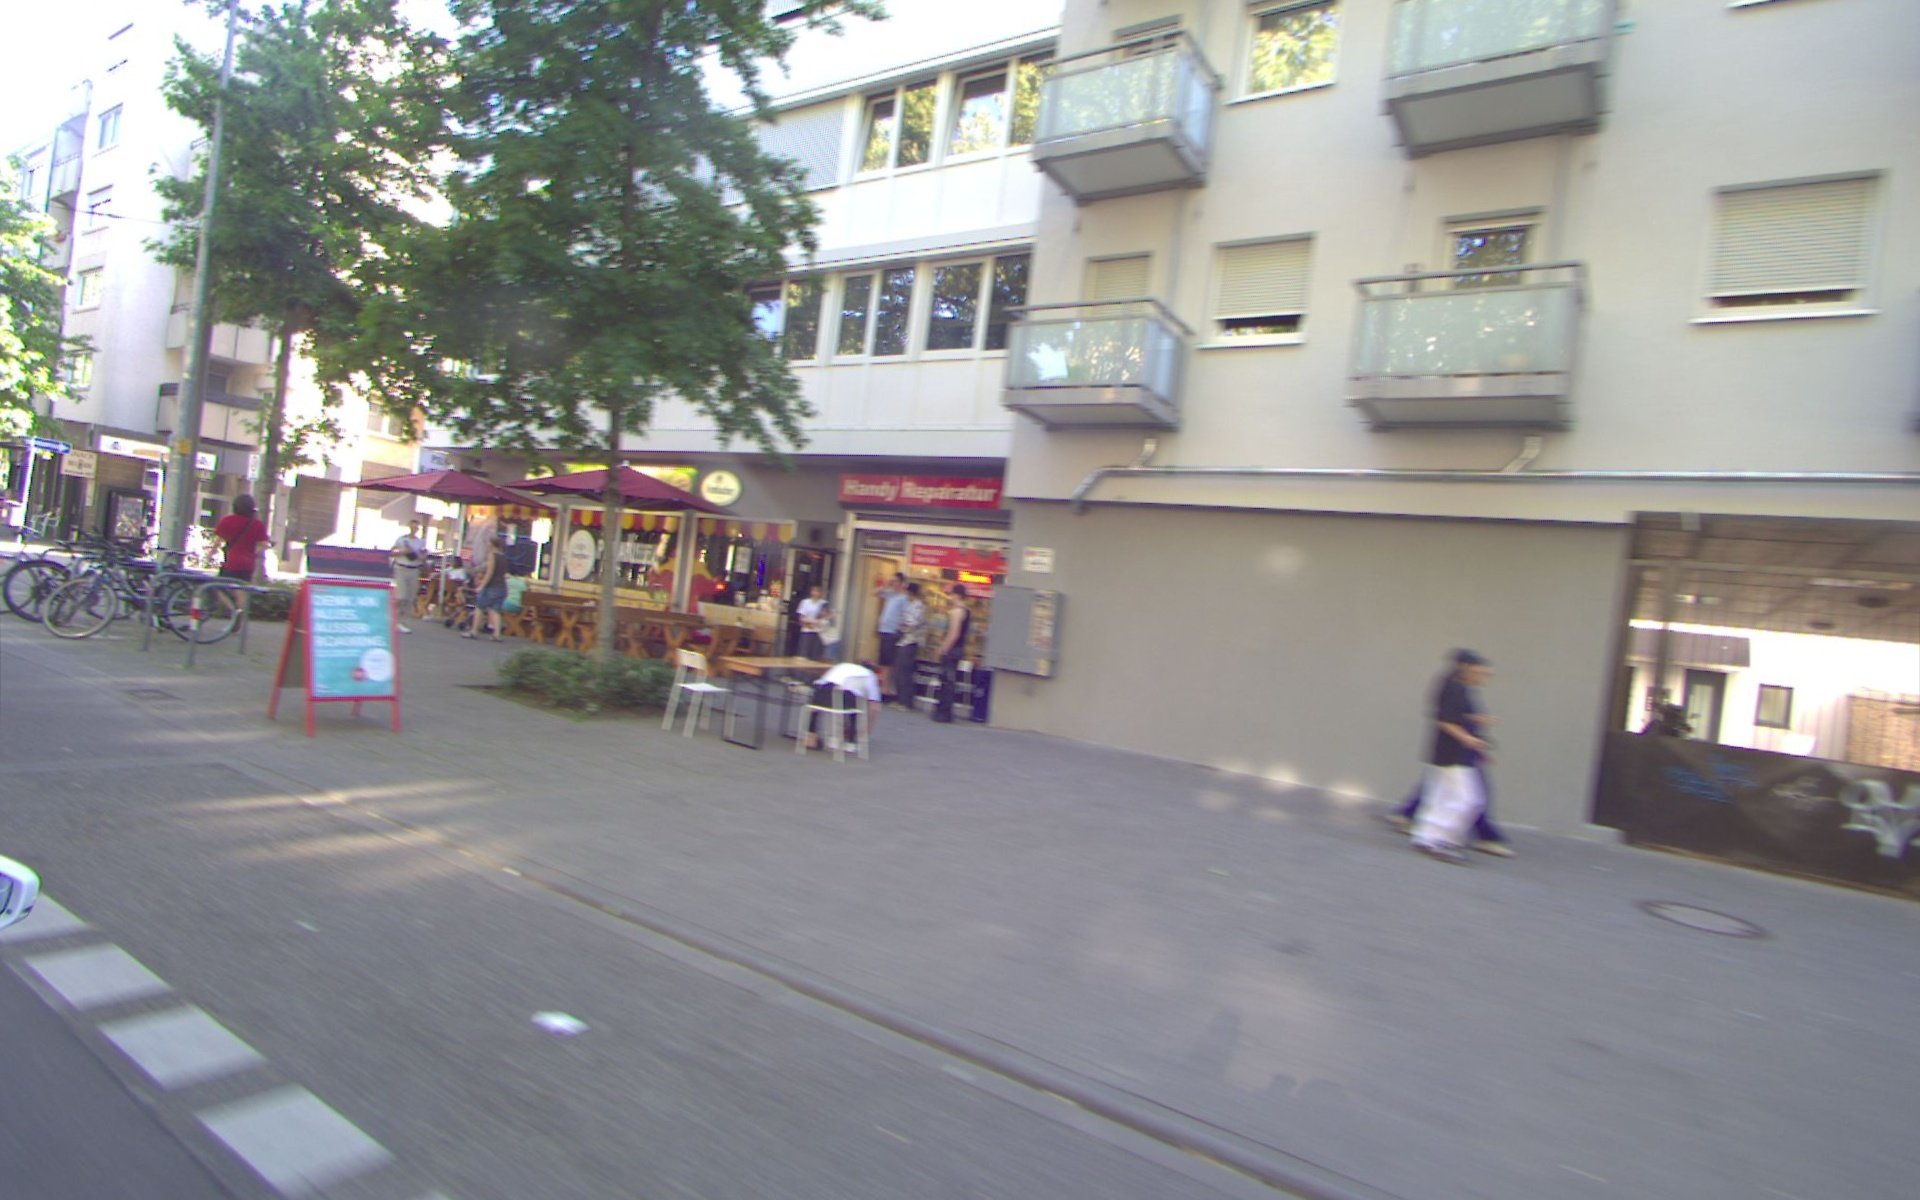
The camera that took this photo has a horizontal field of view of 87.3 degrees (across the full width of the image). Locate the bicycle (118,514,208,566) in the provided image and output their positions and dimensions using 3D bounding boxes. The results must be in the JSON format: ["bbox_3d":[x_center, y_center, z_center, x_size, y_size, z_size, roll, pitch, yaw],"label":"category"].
[{"bbox_3d":[-23.363,-1.743,29.535,0.502,1.221,1.918,7,-2,30],"label":"bicycle"}]

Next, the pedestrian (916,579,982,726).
[{"bbox_3d":[-0.136,0.682,12.934,0.481,1.817,0.432,7,-1,33],"label":"pedestrian"}]

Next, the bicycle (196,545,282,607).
[{"bbox_3d":[-13.853,-0.464,19.307,1.991,0.974,0.677,6,-2,36],"label":"bicycle"}]

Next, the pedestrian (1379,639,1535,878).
[{"bbox_3d":[3.873,1.182,7.838,0.855,1.659,0.642,7,2,32],"label":"pedestrian"}]

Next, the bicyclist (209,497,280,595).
[{"bbox_3d":[-13.716,-1.042,19.281,0.950,1.737,0.677,6,-1,36],"label":"bicyclist"}]

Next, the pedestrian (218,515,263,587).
[{"bbox_3d":[-16.797,-1.148,23.482,0.635,1.579,0.551,5,-2,38],"label":"pedestrian"}]

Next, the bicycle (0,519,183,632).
[{"bbox_3d":[-10.299,-0.264,11.739,0.489,1.113,1.821,7,-2,26],"label":"bicycle"}]

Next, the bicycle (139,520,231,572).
[{"bbox_3d":[-22.025,-1.512,28.625,0.502,1.222,1.917,8,0,30],"label":"bicycle"}]

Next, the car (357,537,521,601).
[{"bbox_3d":[-17.909,-1.025,34.785,1.841,1.495,4.589,9,0,34],"label":"car"}]

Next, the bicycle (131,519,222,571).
[{"bbox_3d":[-22.471,-1.550,28.902,0.502,1.222,1.917,8,0,30],"label":"bicycle"}]

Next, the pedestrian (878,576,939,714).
[{"bbox_3d":[-0.725,0.622,14.024,0.518,1.826,0.630,7,-1,-13],"label":"pedestrian"}]

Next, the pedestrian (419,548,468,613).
[{"bbox_3d":[-11.116,-0.421,21.638,0.704,1.302,0.536,6,-1,35],"label":"pedestrian"}]

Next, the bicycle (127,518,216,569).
[{"bbox_3d":[-22.893,-1.626,29.247,0.502,1.222,1.917,7,0,30],"label":"bicycle"}]

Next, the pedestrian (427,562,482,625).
[{"bbox_3d":[-9.583,-0.112,19.079,0.513,1.091,0.643,6,-1,32],"label":"pedestrian"}]

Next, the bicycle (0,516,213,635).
[{"bbox_3d":[-9.774,-0.238,11.539,0.473,1.113,1.821,7,-2,26],"label":"bicycle"}]

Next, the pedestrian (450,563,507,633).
[{"bbox_3d":[-8.904,-0.032,18.611,0.513,1.189,0.660,6,-1,32],"label":"pedestrian"}]

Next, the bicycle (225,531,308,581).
[{"bbox_3d":[-20.990,-1.306,30.499,0.502,1.222,1.918,8,-1,30],"label":"bicycle"}]

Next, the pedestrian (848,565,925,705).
[{"bbox_3d":[-1.084,0.510,14.868,0.782,1.977,0.505,6,-1,43],"label":"pedestrian"}]

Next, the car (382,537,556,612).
[{"bbox_3d":[-14.560,-0.707,30.103,1.933,1.610,4.261,5,-3,28],"label":"car"}]

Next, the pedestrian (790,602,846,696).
[{"bbox_3d":[-2.078,0.717,14.774,0.615,1.291,0.509,7,-1,-3],"label":"pedestrian"}]

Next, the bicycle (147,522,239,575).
[{"bbox_3d":[-21.582,-1.442,28.353,0.502,1.222,1.917,8,0,30],"label":"bicycle"}]

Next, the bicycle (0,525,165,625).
[{"bbox_3d":[-10.892,-0.300,12.208,0.473,1.005,1.819,6,-2,31],"label":"bicycle"}]

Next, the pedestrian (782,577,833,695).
[{"bbox_3d":[-2.232,0.532,14.772,0.509,1.647,0.507,7,-1,-4],"label":"pedestrian"}]

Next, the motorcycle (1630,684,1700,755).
[{"bbox_3d":[12.492,2.118,17.882,0.705,1.089,2.415,6,-2,30],"label":"motorcycle"}]

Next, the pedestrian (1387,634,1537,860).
[{"bbox_3d":[4.224,1.190,8.464,0.919,1.699,0.596,6,2,32],"label":"pedestrian"}]

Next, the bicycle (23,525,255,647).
[{"bbox_3d":[-8.917,-0.116,11.019,0.517,1.113,1.817,6,-1,33],"label":"bicycle"}]

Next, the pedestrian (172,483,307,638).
[{"bbox_3d":[-9.144,-0.494,12.779,1.030,1.778,0.877,6,-1,31],"label":"pedestrian"}]

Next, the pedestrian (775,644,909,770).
[{"bbox_3d":[-1.091,1.003,9.457,0.650,1.039,1.000,6,-2,33],"label":"pedestrian"}]

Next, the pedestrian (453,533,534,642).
[{"bbox_3d":[-7.735,-0.188,16.706,0.799,1.678,0.680,7,-1,4],"label":"pedestrian"}]

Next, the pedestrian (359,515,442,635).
[{"bbox_3d":[-9.050,-0.403,16.270,0.979,1.805,0.591,6,-1,33],"label":"pedestrian"}]
